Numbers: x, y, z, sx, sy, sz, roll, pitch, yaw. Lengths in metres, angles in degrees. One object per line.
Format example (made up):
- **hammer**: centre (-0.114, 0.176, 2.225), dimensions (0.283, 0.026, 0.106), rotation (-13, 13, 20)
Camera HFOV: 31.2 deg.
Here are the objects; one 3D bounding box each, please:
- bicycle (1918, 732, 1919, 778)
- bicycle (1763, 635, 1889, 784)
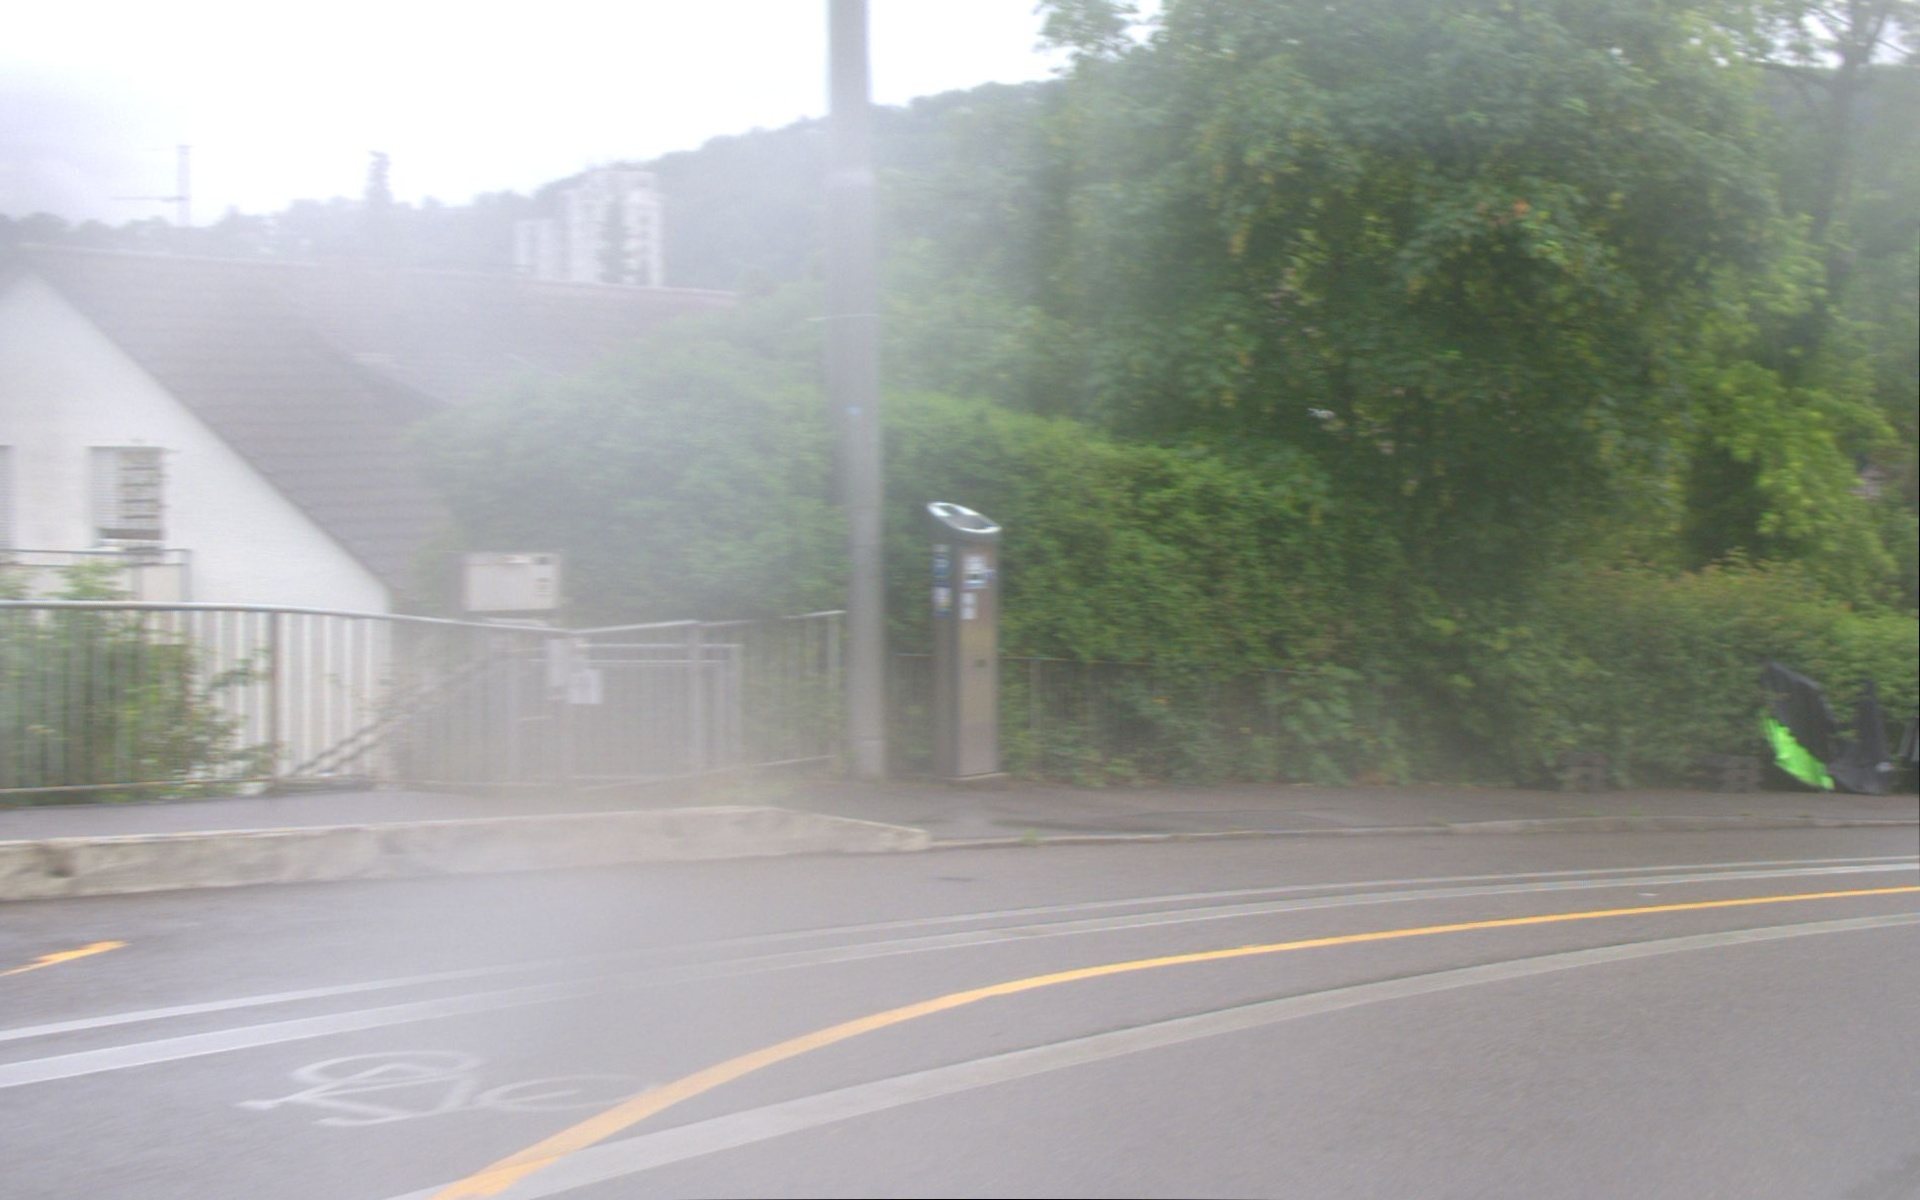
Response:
- **bicycle**: centre (10.101, 1.252, 34.691), dimensions (0.339, 1.104, 1.253), rotation (2, -1, 38)
- **bicycle**: centre (8.093, 1.032, 32.092), dimensions (0.421, 1.345, 1.738), rotation (2, -1, 38)
